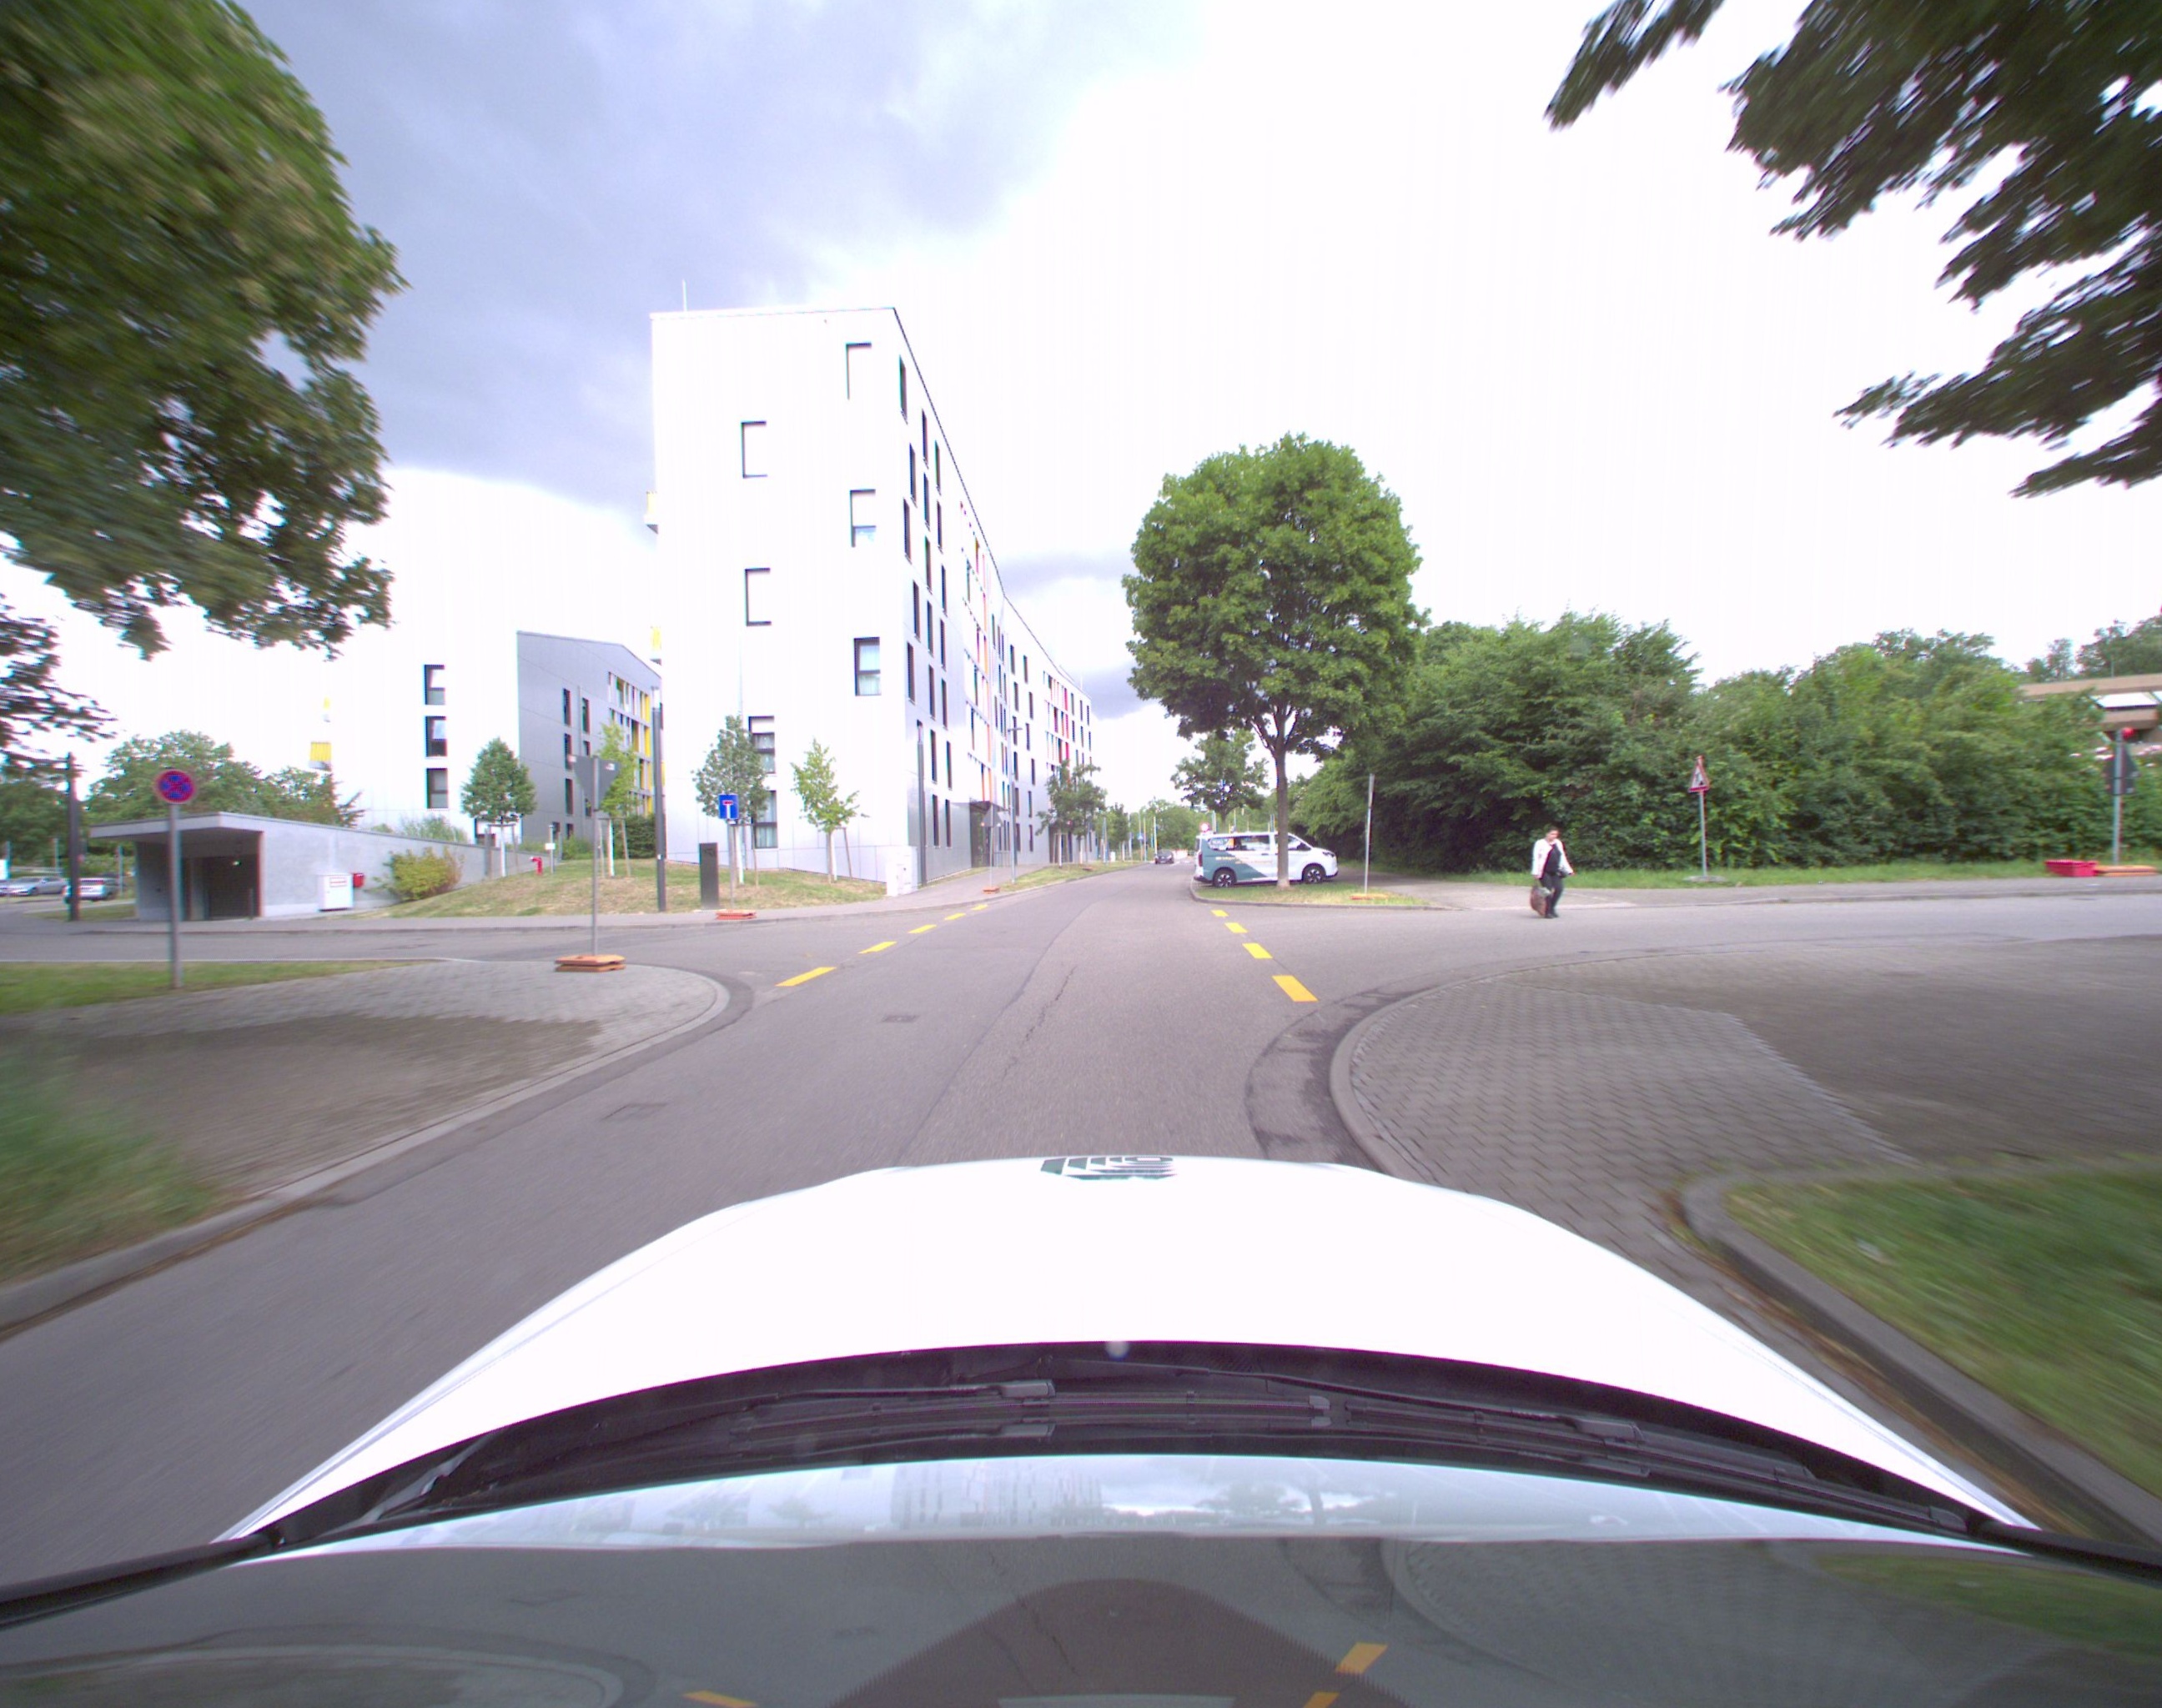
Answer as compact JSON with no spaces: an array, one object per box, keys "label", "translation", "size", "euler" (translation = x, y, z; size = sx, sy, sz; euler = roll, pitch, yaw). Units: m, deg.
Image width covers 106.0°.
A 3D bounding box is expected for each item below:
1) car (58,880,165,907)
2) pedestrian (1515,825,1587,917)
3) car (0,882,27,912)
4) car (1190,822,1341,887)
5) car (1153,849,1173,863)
[{"label":"car","translation":[-57.595,2.324,48.452],"size":[1.813,1.372,3.637],"euler":[-2,0,16]},{"label":"pedestrian","translation":[8.378,0.290,14.549],"size":[0.830,1.576,0.811],"euler":[-2,0,8]},{"label":"car","translation":[-50.570,2.026,37.013],"size":[1.837,1.372,3.590],"euler":[-2,0,-26]},{"label":"car","translation":[6.507,0.020,29.097],"size":[4.951,1.972,1.848],"euler":[-4,0,3]},{"label":"car","translation":[8.172,0.167,80.714],"size":[1.599,1.388,4.012],"euler":[-1,0,10]}]
